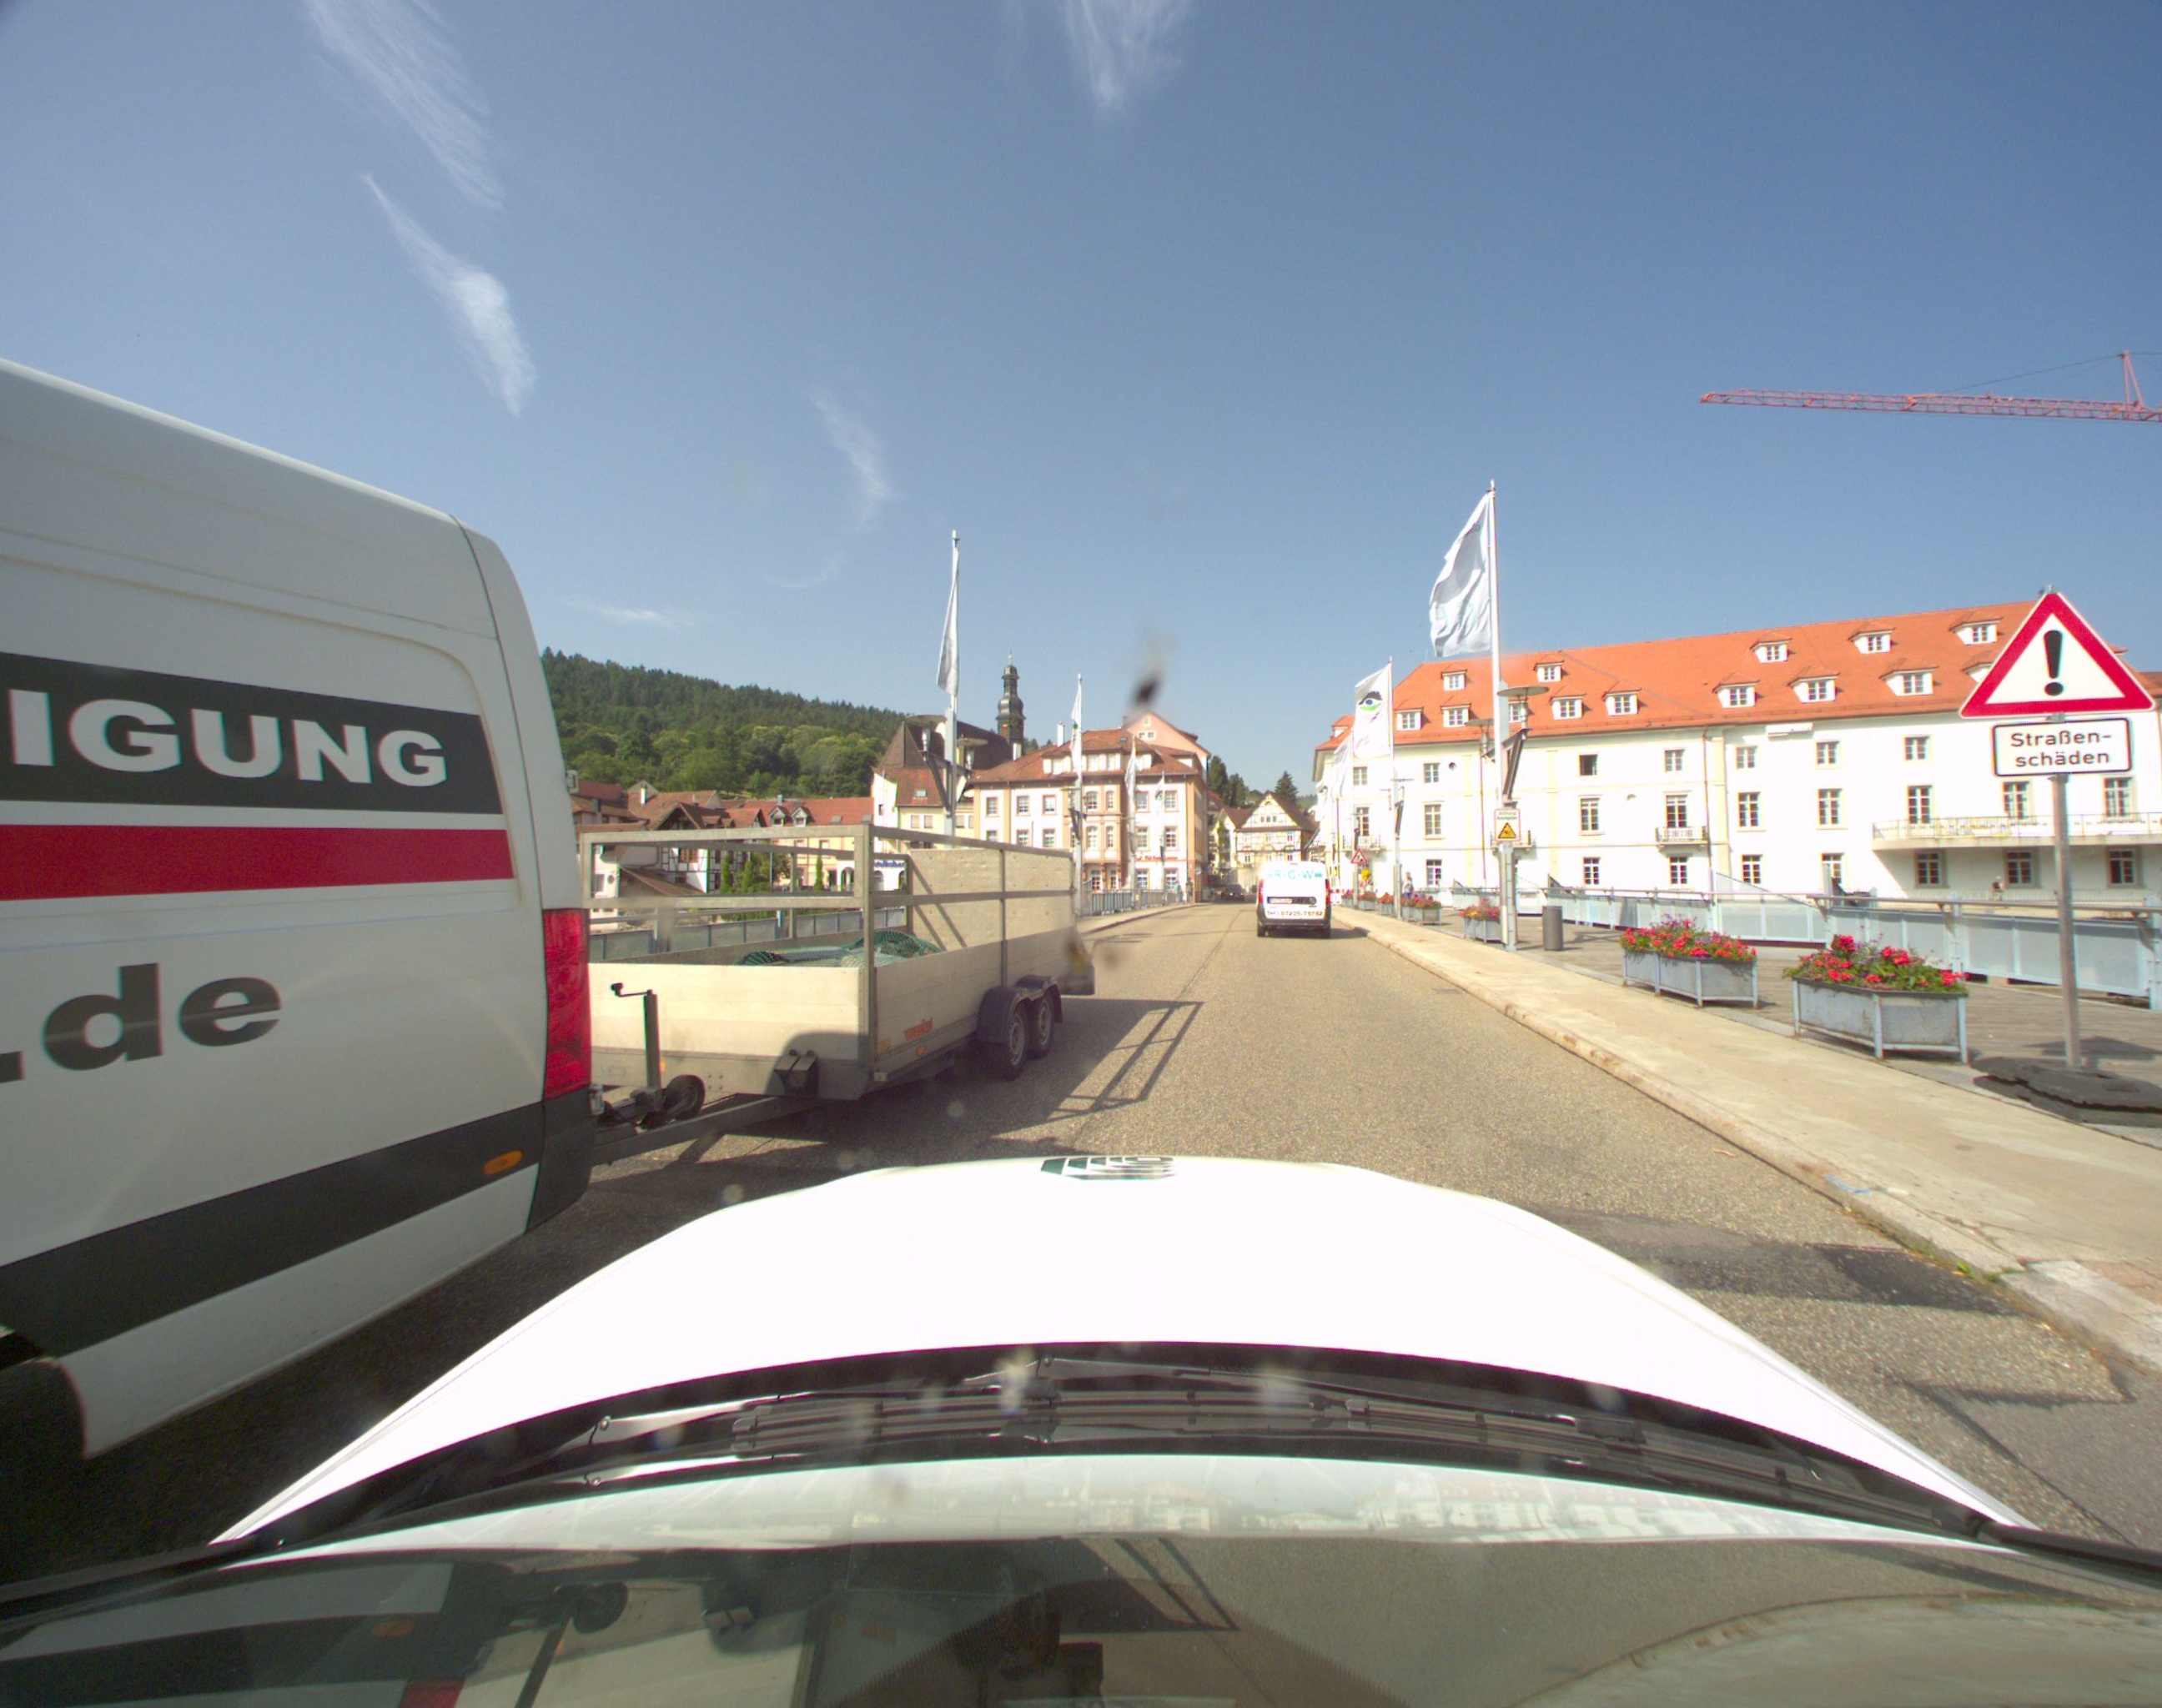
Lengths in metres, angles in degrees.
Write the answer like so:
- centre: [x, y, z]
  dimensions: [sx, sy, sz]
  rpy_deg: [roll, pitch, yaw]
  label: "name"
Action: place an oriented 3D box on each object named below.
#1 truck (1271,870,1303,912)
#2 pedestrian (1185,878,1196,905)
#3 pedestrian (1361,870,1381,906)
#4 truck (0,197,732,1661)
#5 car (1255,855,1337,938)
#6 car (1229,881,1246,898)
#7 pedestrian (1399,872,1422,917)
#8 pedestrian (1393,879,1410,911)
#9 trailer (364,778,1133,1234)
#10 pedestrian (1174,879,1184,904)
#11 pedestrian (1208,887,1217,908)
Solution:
- centre: [13.033, 2.349, 51.745]
  dimensions: [1.849, 2.586, 4.273]
  rpy_deg: [0, -3, 12]
  label: "truck"
- centre: [7.223, 2.482, 53.783]
  dimensions: [0.610, 1.763, 0.866]
  rpy_deg: [0, -2, 12]
  label: "pedestrian"
- centre: [13.958, 1.615, 39.222]
  dimensions: [0.737, 1.723, 0.732]
  rpy_deg: [-1, -3, 34]
  label: "pedestrian"
- centre: [-3.740, 0.145, 0.175]
  dimensions: [2.086, 2.699, 7.174]
  rpy_deg: [-1, -1, 24]
  label: "truck"
- centre: [5.505, 1.076, 21.167]
  dimensions: [1.831, 1.906, 4.328]
  rpy_deg: [0, -3, 13]
  label: "car"
- centre: [16.778, 3.792, 87.121]
  dimensions: [1.765, 1.793, 4.710]
  rpy_deg: [0, -2, 11]
  label: "car"
- centre: [12.230, 1.499, 30.258]
  dimensions: [0.662, 1.618, 0.564]
  rpy_deg: [0, -2, 8]
  label: "pedestrian"
- centre: [12.704, 1.642, 32.308]
  dimensions: [0.449, 1.244, 0.627]
  rpy_deg: [-1, -3, 7]
  label: "pedestrian"
- centre: [-1.446, 0.686, 6.329]
  dimensions: [2.591, 1.828, 5.659]
  rpy_deg: [-1, -2, 15]
  label: "trailer"
- centre: [6.484, 2.474, 54.023]
  dimensions: [0.580, 1.610, 0.539]
  rpy_deg: [0, -2, 11]
  label: "pedestrian"
- centre: [11.769, 3.869, 72.871]
  dimensions: [0.798, 1.858, 0.618]
  rpy_deg: [-1, -2, 11]
  label: "pedestrian"
